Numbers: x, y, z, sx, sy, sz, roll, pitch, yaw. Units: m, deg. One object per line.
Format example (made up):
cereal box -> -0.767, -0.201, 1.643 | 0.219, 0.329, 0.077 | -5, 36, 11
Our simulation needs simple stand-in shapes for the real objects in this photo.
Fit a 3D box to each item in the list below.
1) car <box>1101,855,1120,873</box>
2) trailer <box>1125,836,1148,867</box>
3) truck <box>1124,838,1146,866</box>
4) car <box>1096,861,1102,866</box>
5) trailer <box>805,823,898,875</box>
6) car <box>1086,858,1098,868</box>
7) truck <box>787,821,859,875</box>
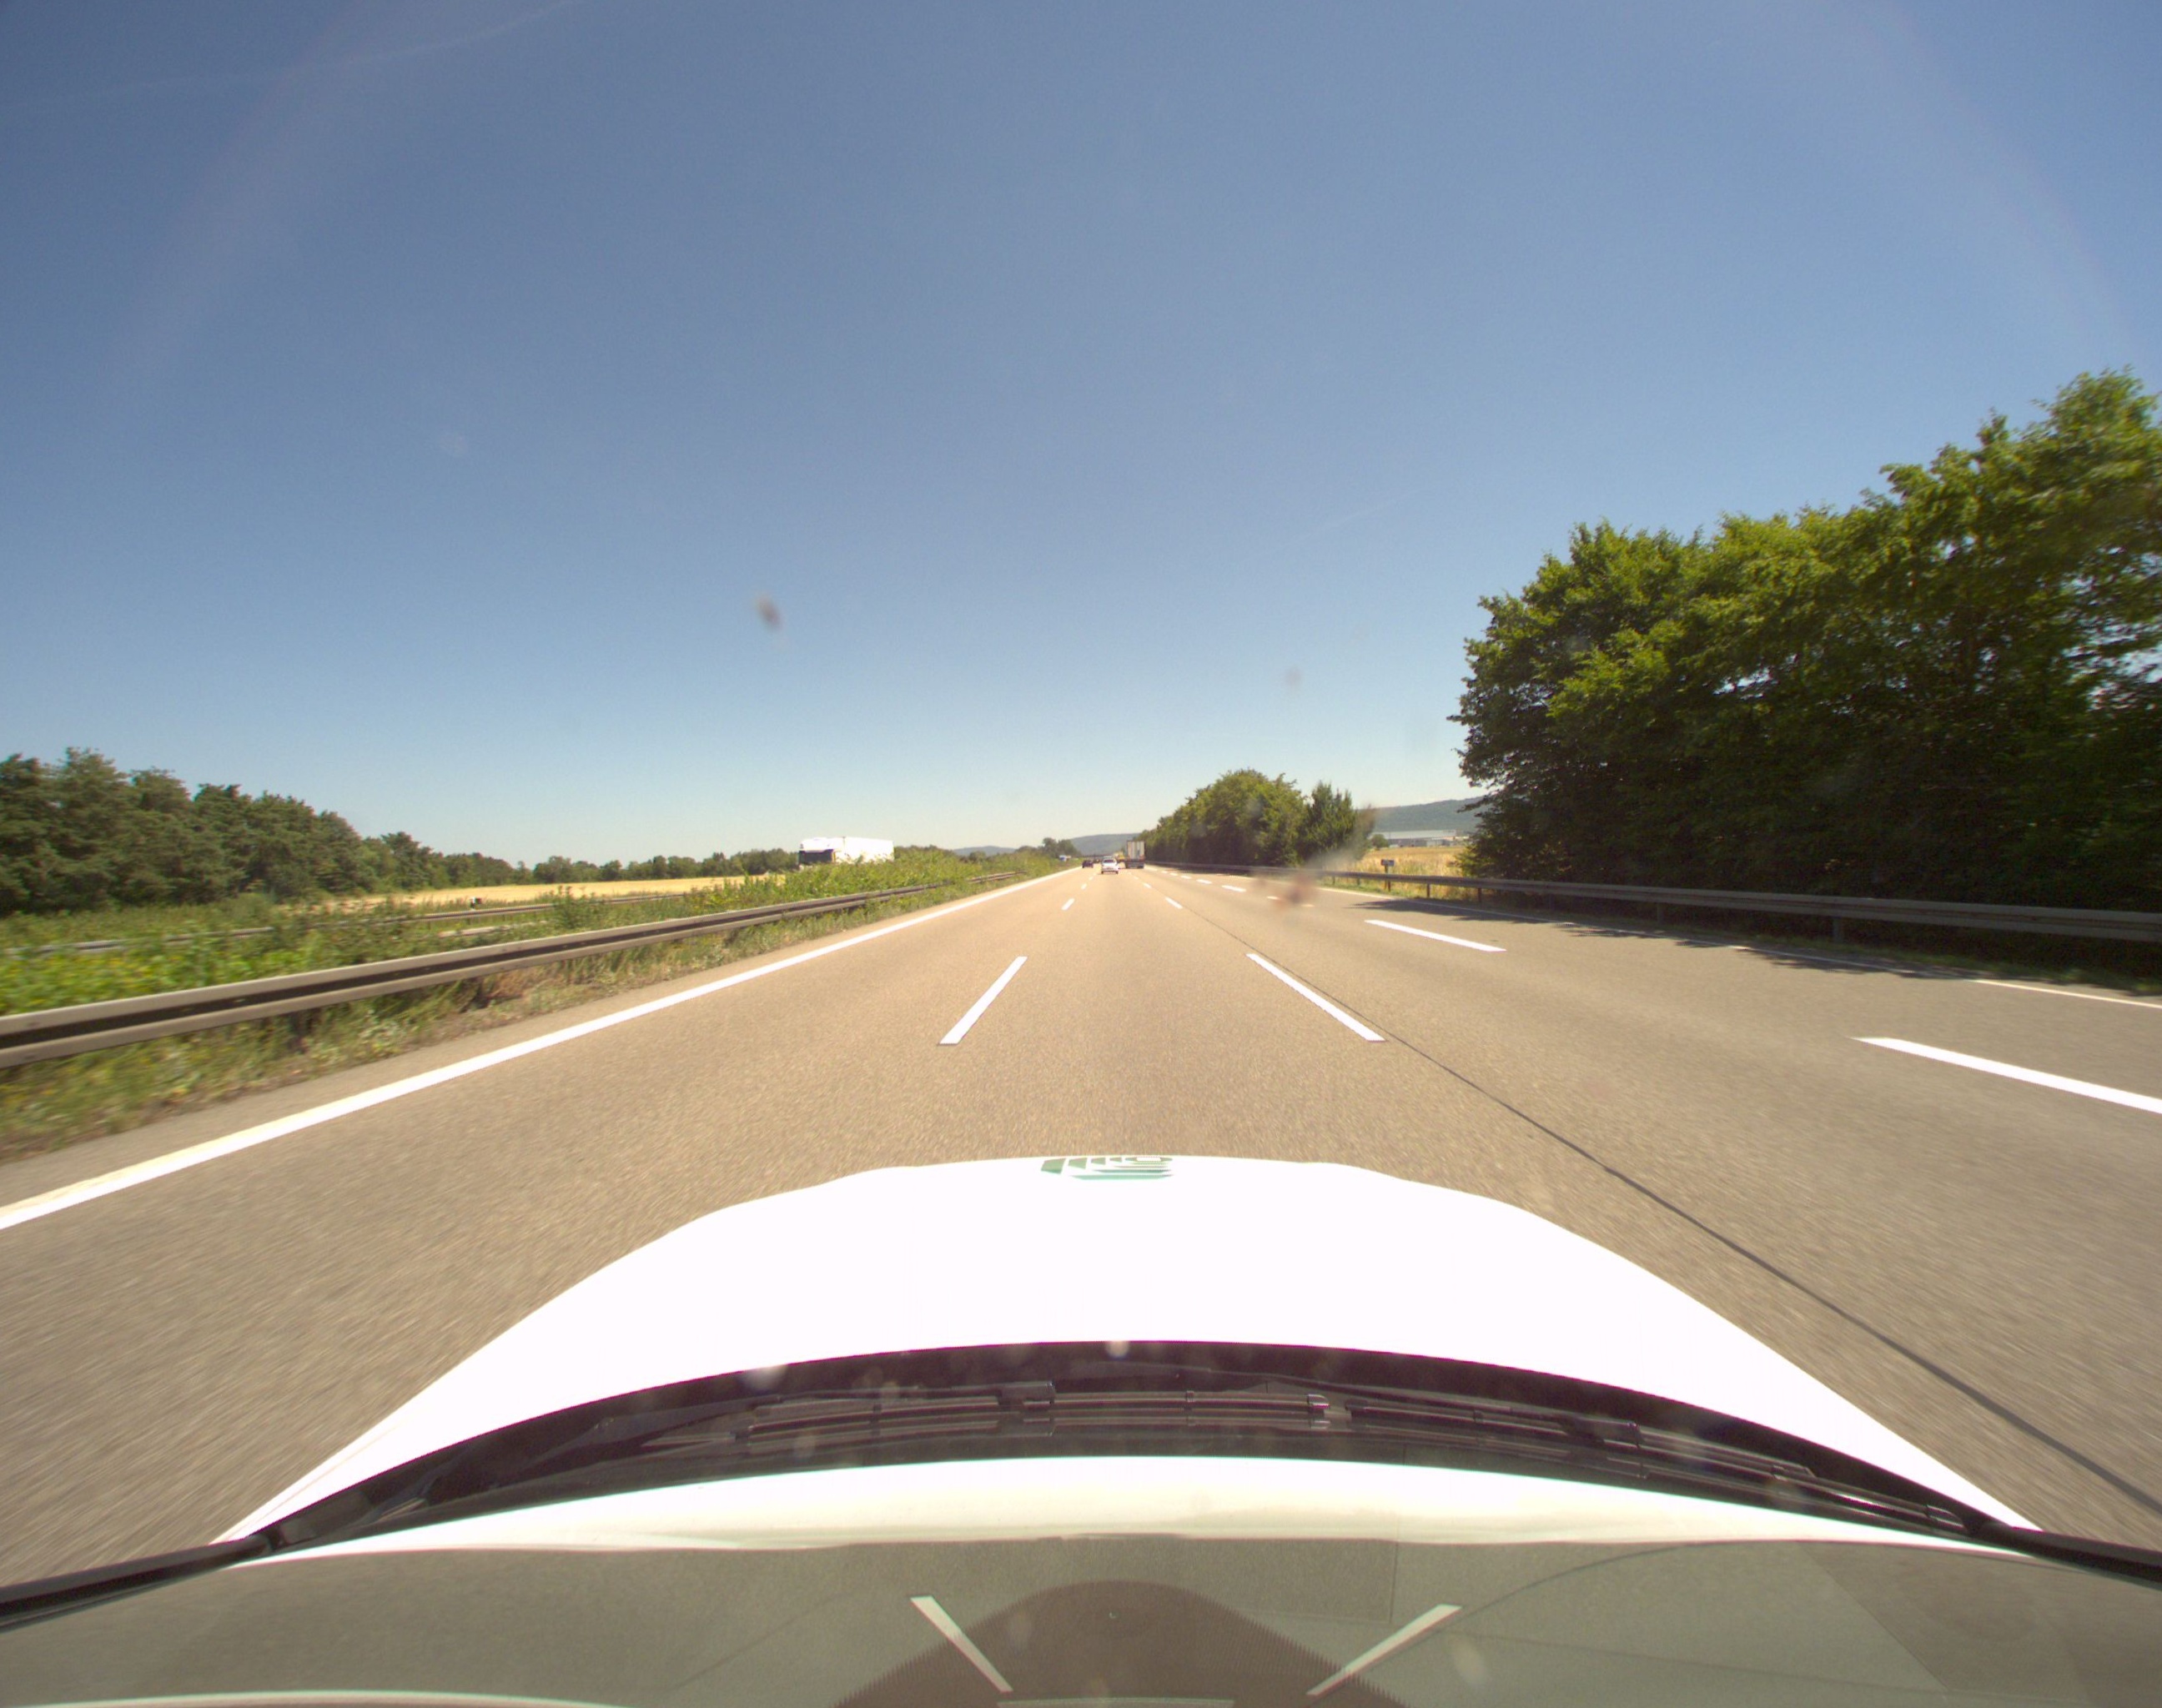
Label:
car -> 2.912, 0.983, 81.148 | 1.726, 1.684, 4.000 | -2, 0, 1
trailer -> 8.230, -0.267, 122.231 | 3.205, 4.345, 13.636 | 0, 0, 2
truck -> 8.535, -0.221, 129.633 | 3.205, 4.345, 6.594 | 0, 0, 2
car -> 5.336, 2.731, 238.647 | 1.789, 1.551, 4.001 | -1, -1, 2
trailer -> -18.256, -0.322, 66.252 | 3.168, 3.699, 14.386 | 0, 0, 1
car -> 1.781, 1.526, 136.237 | 1.987, 1.712, 4.000 | 0, 0, 1
truck -> -18.466, -0.387, 58.699 | 3.168, 3.699, 6.037 | 0, 0, 1
